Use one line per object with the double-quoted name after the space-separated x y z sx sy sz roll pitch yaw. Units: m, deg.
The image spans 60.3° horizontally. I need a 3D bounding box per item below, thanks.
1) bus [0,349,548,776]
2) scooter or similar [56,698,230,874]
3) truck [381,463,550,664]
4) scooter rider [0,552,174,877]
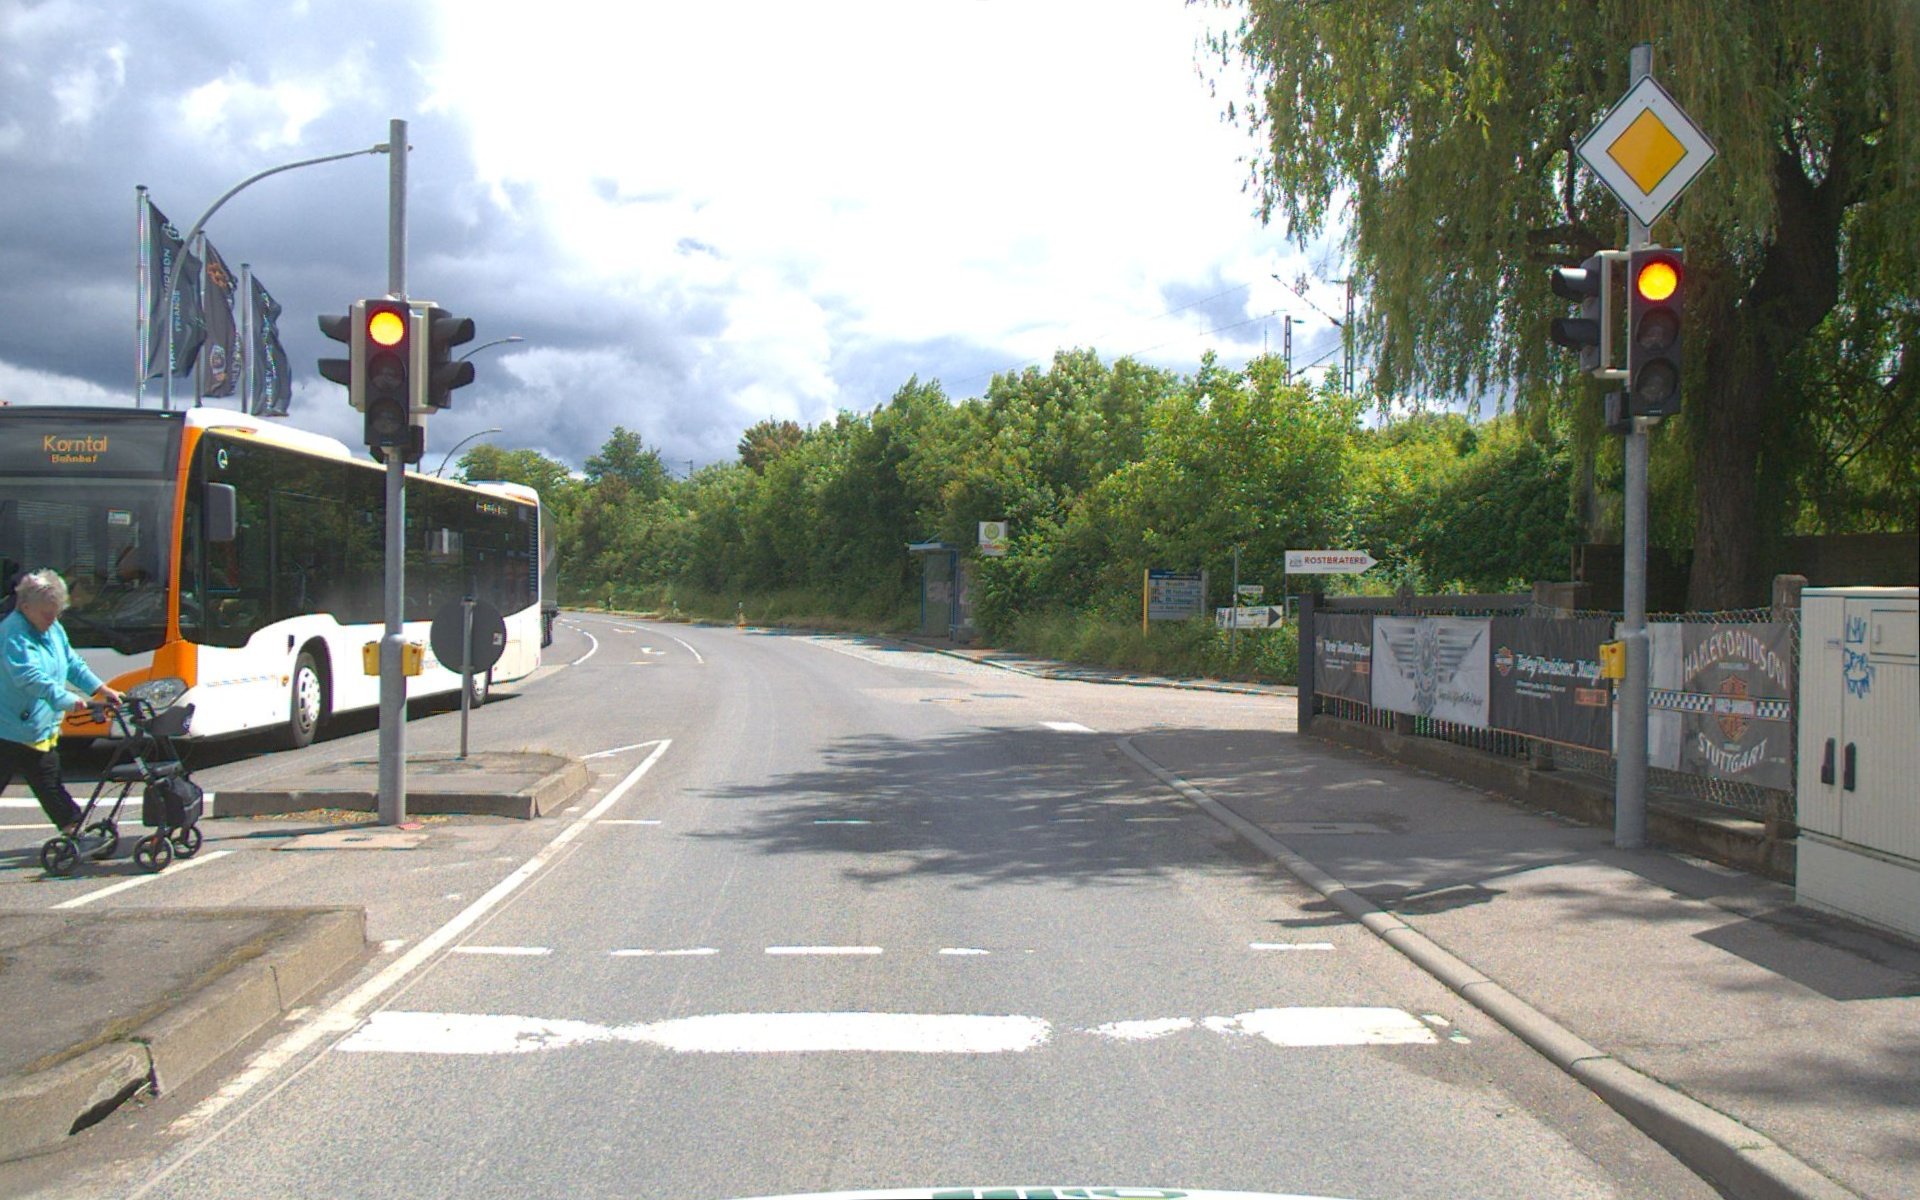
-7.499 -0.285 18.951 2.721 3.323 12.120 0 0 -1 "bus"
-4.278 0.959 8.695 0.599 0.846 0.659 0 0 -2 "scooter or similar"
-11.711 -0.769 40.004 2.383 4.203 9.133 3 0 -8 "truck"
-4.730 0.569 8.640 0.860 1.617 0.796 1 0 -2 "scooter rider"
